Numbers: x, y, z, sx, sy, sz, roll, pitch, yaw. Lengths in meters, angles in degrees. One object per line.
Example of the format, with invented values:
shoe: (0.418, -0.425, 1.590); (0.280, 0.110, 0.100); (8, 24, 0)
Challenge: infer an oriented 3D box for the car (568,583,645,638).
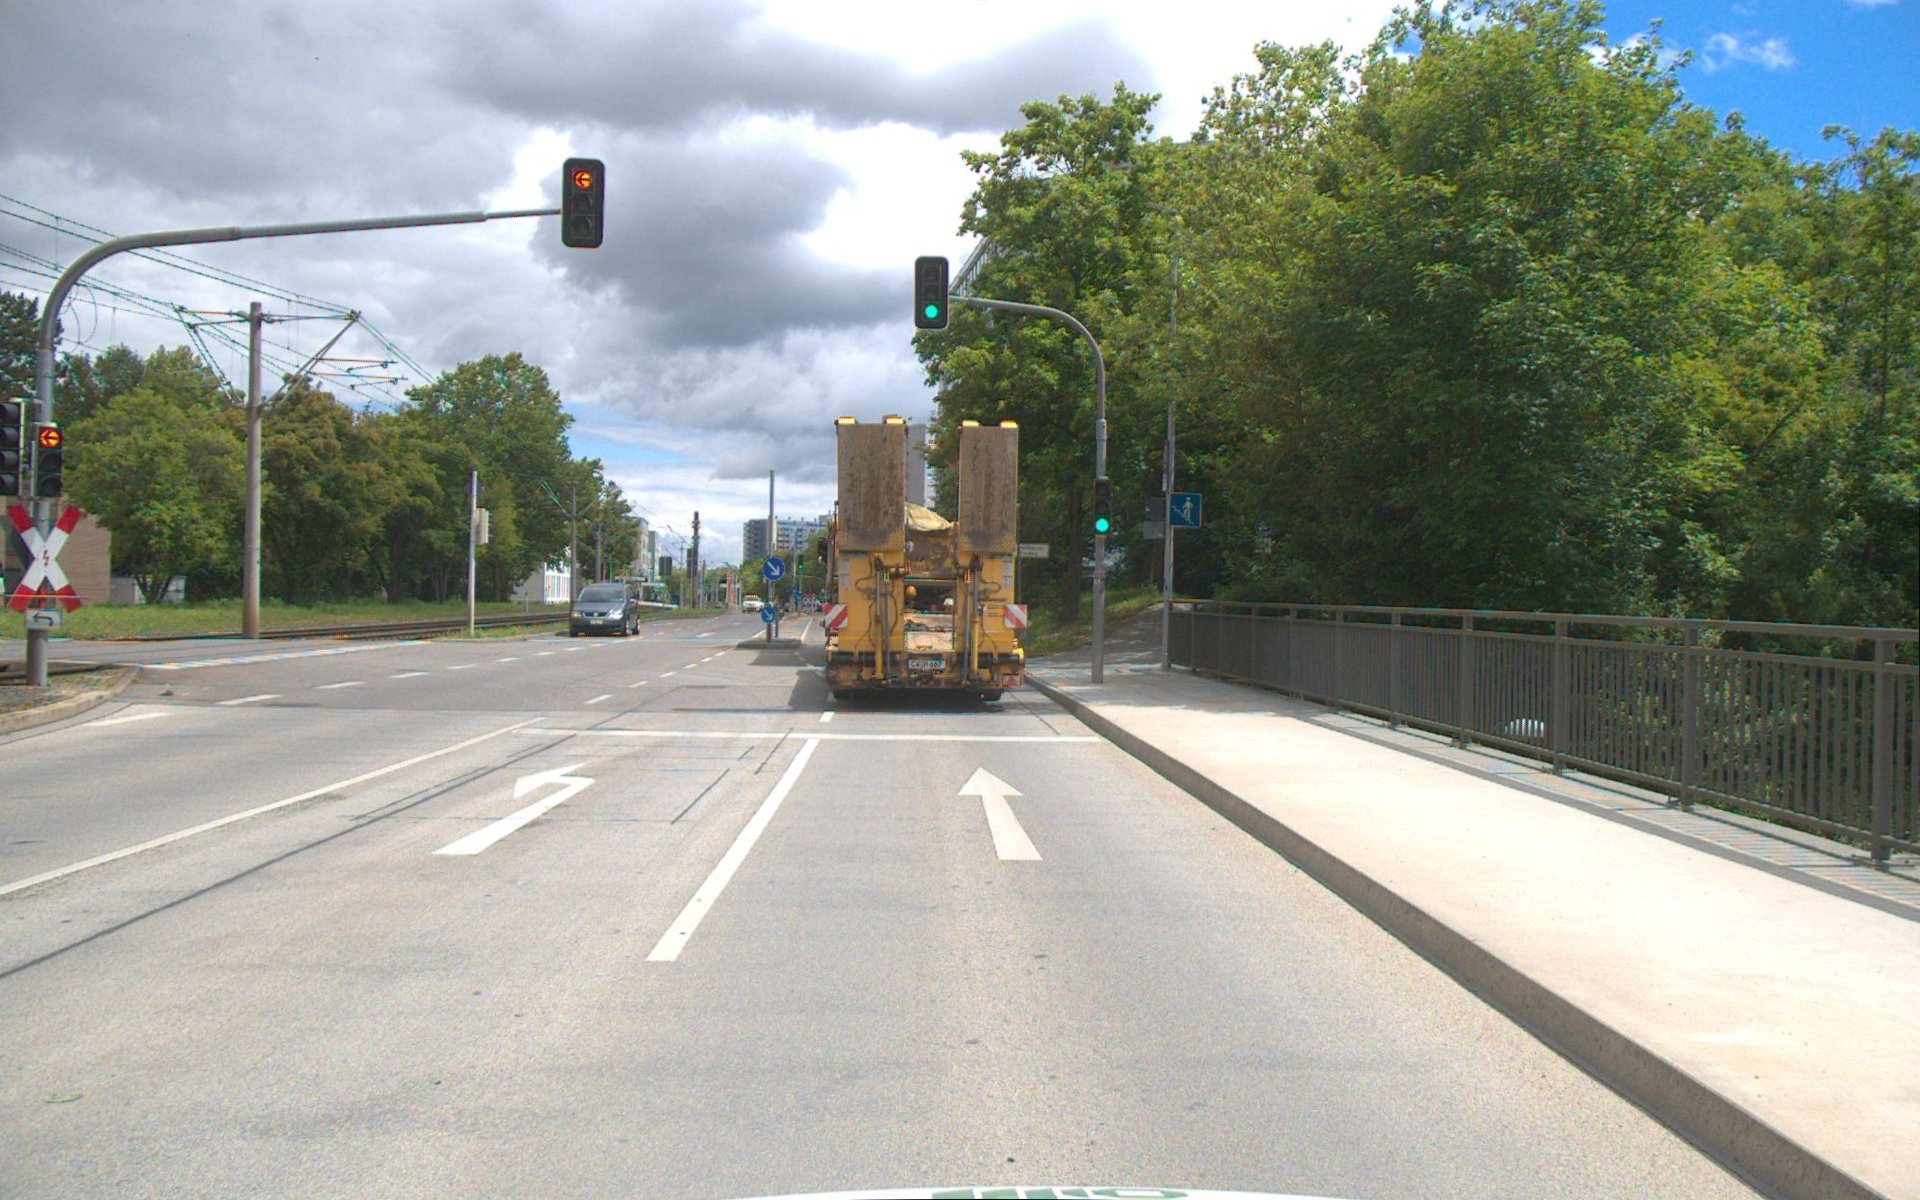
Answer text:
car: (-10.924, 0.294, 51.346); (1.749, 1.597, 4.341); (1, 0, -4)

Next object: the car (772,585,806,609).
car: (-11.166, -0.194, 108.342); (1.954, 1.445, 3.997); (3, 0, -3)

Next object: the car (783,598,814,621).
car: (-11.557, 0.658, 118.330); (1.954, 1.445, 3.997); (3, 0, -3)

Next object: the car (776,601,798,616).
car: (-15.354, 0.740, 147.036); (1.749, 1.294, 4.341); (1, 0, -4)

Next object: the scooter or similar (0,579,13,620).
scooter or similar: (-29.296, -0.034, 49.897); (0.872, 1.205, 0.972); (3, 0, -1)

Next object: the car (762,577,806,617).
car: (-9.045, -0.167, 85.338); (1.954, 1.959, 3.997); (3, 0, -3)

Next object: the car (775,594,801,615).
car: (-14.805, 0.408, 142.807); (1.954, 1.646, 3.997); (3, 0, -3)

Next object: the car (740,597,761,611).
car: (-19.551, 0.378, 154.533); (1.749, 1.294, 4.341); (1, 0, -4)

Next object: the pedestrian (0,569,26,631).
pedestrian: (-29.301, -0.003, 50.721); (0.785, 1.843, 0.809); (3, 0, 0)

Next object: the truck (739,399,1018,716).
truck: (-0.793, -0.540, 26.394); (3.247, 3.714, 12.565); (2, 0, 2)
